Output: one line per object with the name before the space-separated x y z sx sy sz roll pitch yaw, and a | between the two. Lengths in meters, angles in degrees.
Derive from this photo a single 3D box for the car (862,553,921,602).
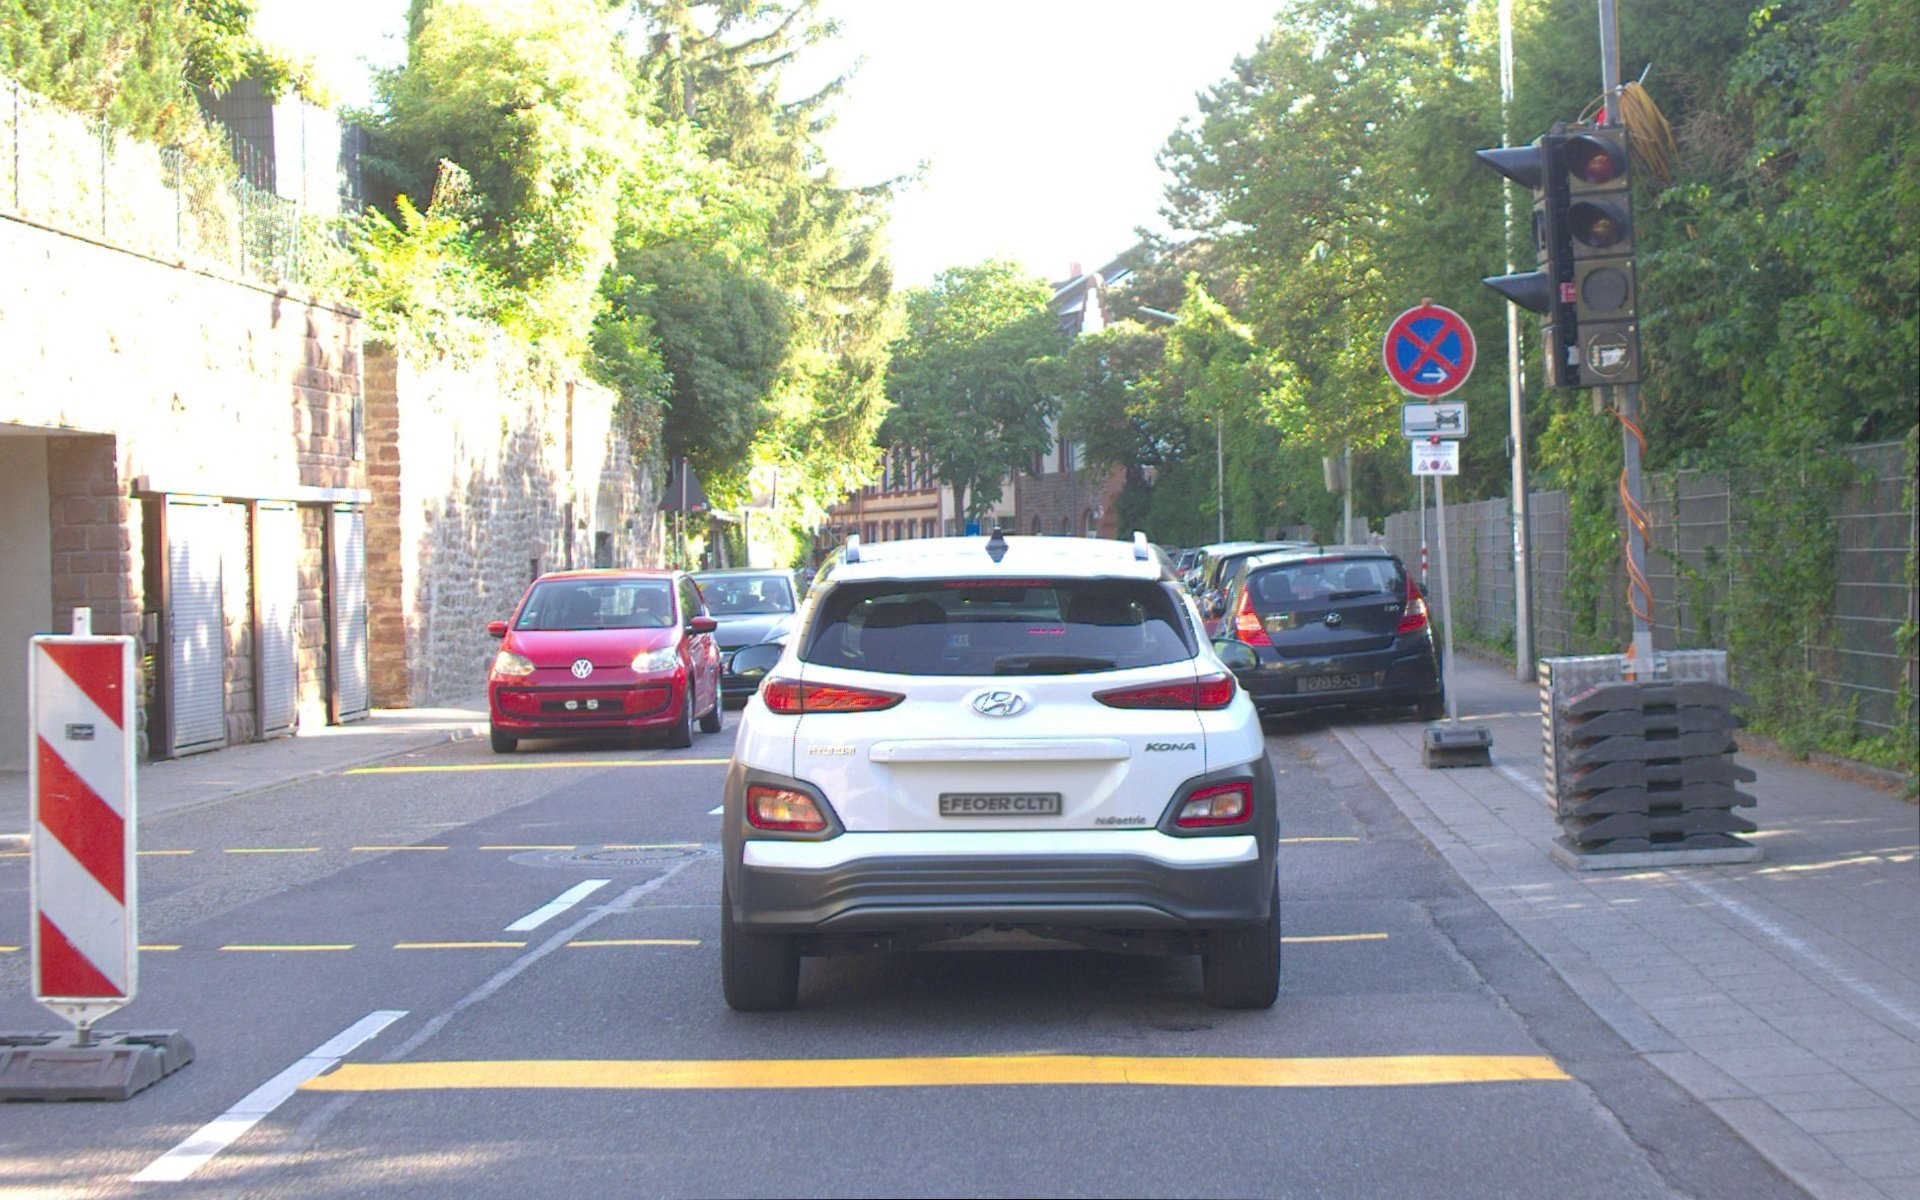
car | -2.320 -0.747 114.829 1.741 1.469 4.000 -5 0 -3

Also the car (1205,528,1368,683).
car | 3.745 0.054 39.459 1.653 1.559 2.872 -6 0 6

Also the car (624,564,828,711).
car | -2.396 0.353 36.052 1.649 1.406 3.930 -2 1 3

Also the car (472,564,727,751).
car | -2.957 0.434 28.795 1.627 1.417 3.563 -2 1 2

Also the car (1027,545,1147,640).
car | 2.169 -0.153 57.788 1.694 1.528 3.880 0 1 7

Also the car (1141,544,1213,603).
car | 5.928 -0.745 94.284 1.593 1.484 3.602 -4 1 -1

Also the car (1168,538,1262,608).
car | 6.173 -0.645 83.532 1.593 1.560 4.001 -3 0 -5

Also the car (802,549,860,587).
car | -5.613 -1.404 149.314 1.755 1.611 4.001 0 1 -14

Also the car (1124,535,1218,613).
car | 4.523 -0.577 73.315 1.694 1.442 3.881 -4 2 7

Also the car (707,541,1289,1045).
car | 0.129 0.560 12.479 1.772 1.537 4.000 0 1 0

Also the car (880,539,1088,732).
car | 0.259 0.259 29.687 1.512 1.528 3.547 -1 1 4

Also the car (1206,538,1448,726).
car | 3.039 0.228 29.113 1.794 1.436 4.000 -2 1 3

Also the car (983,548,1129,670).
car | 1.244 0.088 43.262 1.571 1.472 3.547 0 1 6

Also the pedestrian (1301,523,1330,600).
pedestrian | 7.361 -0.795 71.203 0.503 1.564 0.503 -3 0 4

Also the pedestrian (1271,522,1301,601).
pedestrian | 6.771 -0.802 71.448 0.503 1.601 0.491 -3 0 4

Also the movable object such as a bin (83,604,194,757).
movable object such as a bin | -6.515 0.629 27.283 0.658 1.172 0.665 -2 1 4

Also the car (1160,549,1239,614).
car | 6.121 -0.475 88.321 1.593 1.514 3.932 -4 0 -1

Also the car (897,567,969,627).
car | -0.692 -0.089 89.822 1.550 1.461 3.568 -3 1 4
